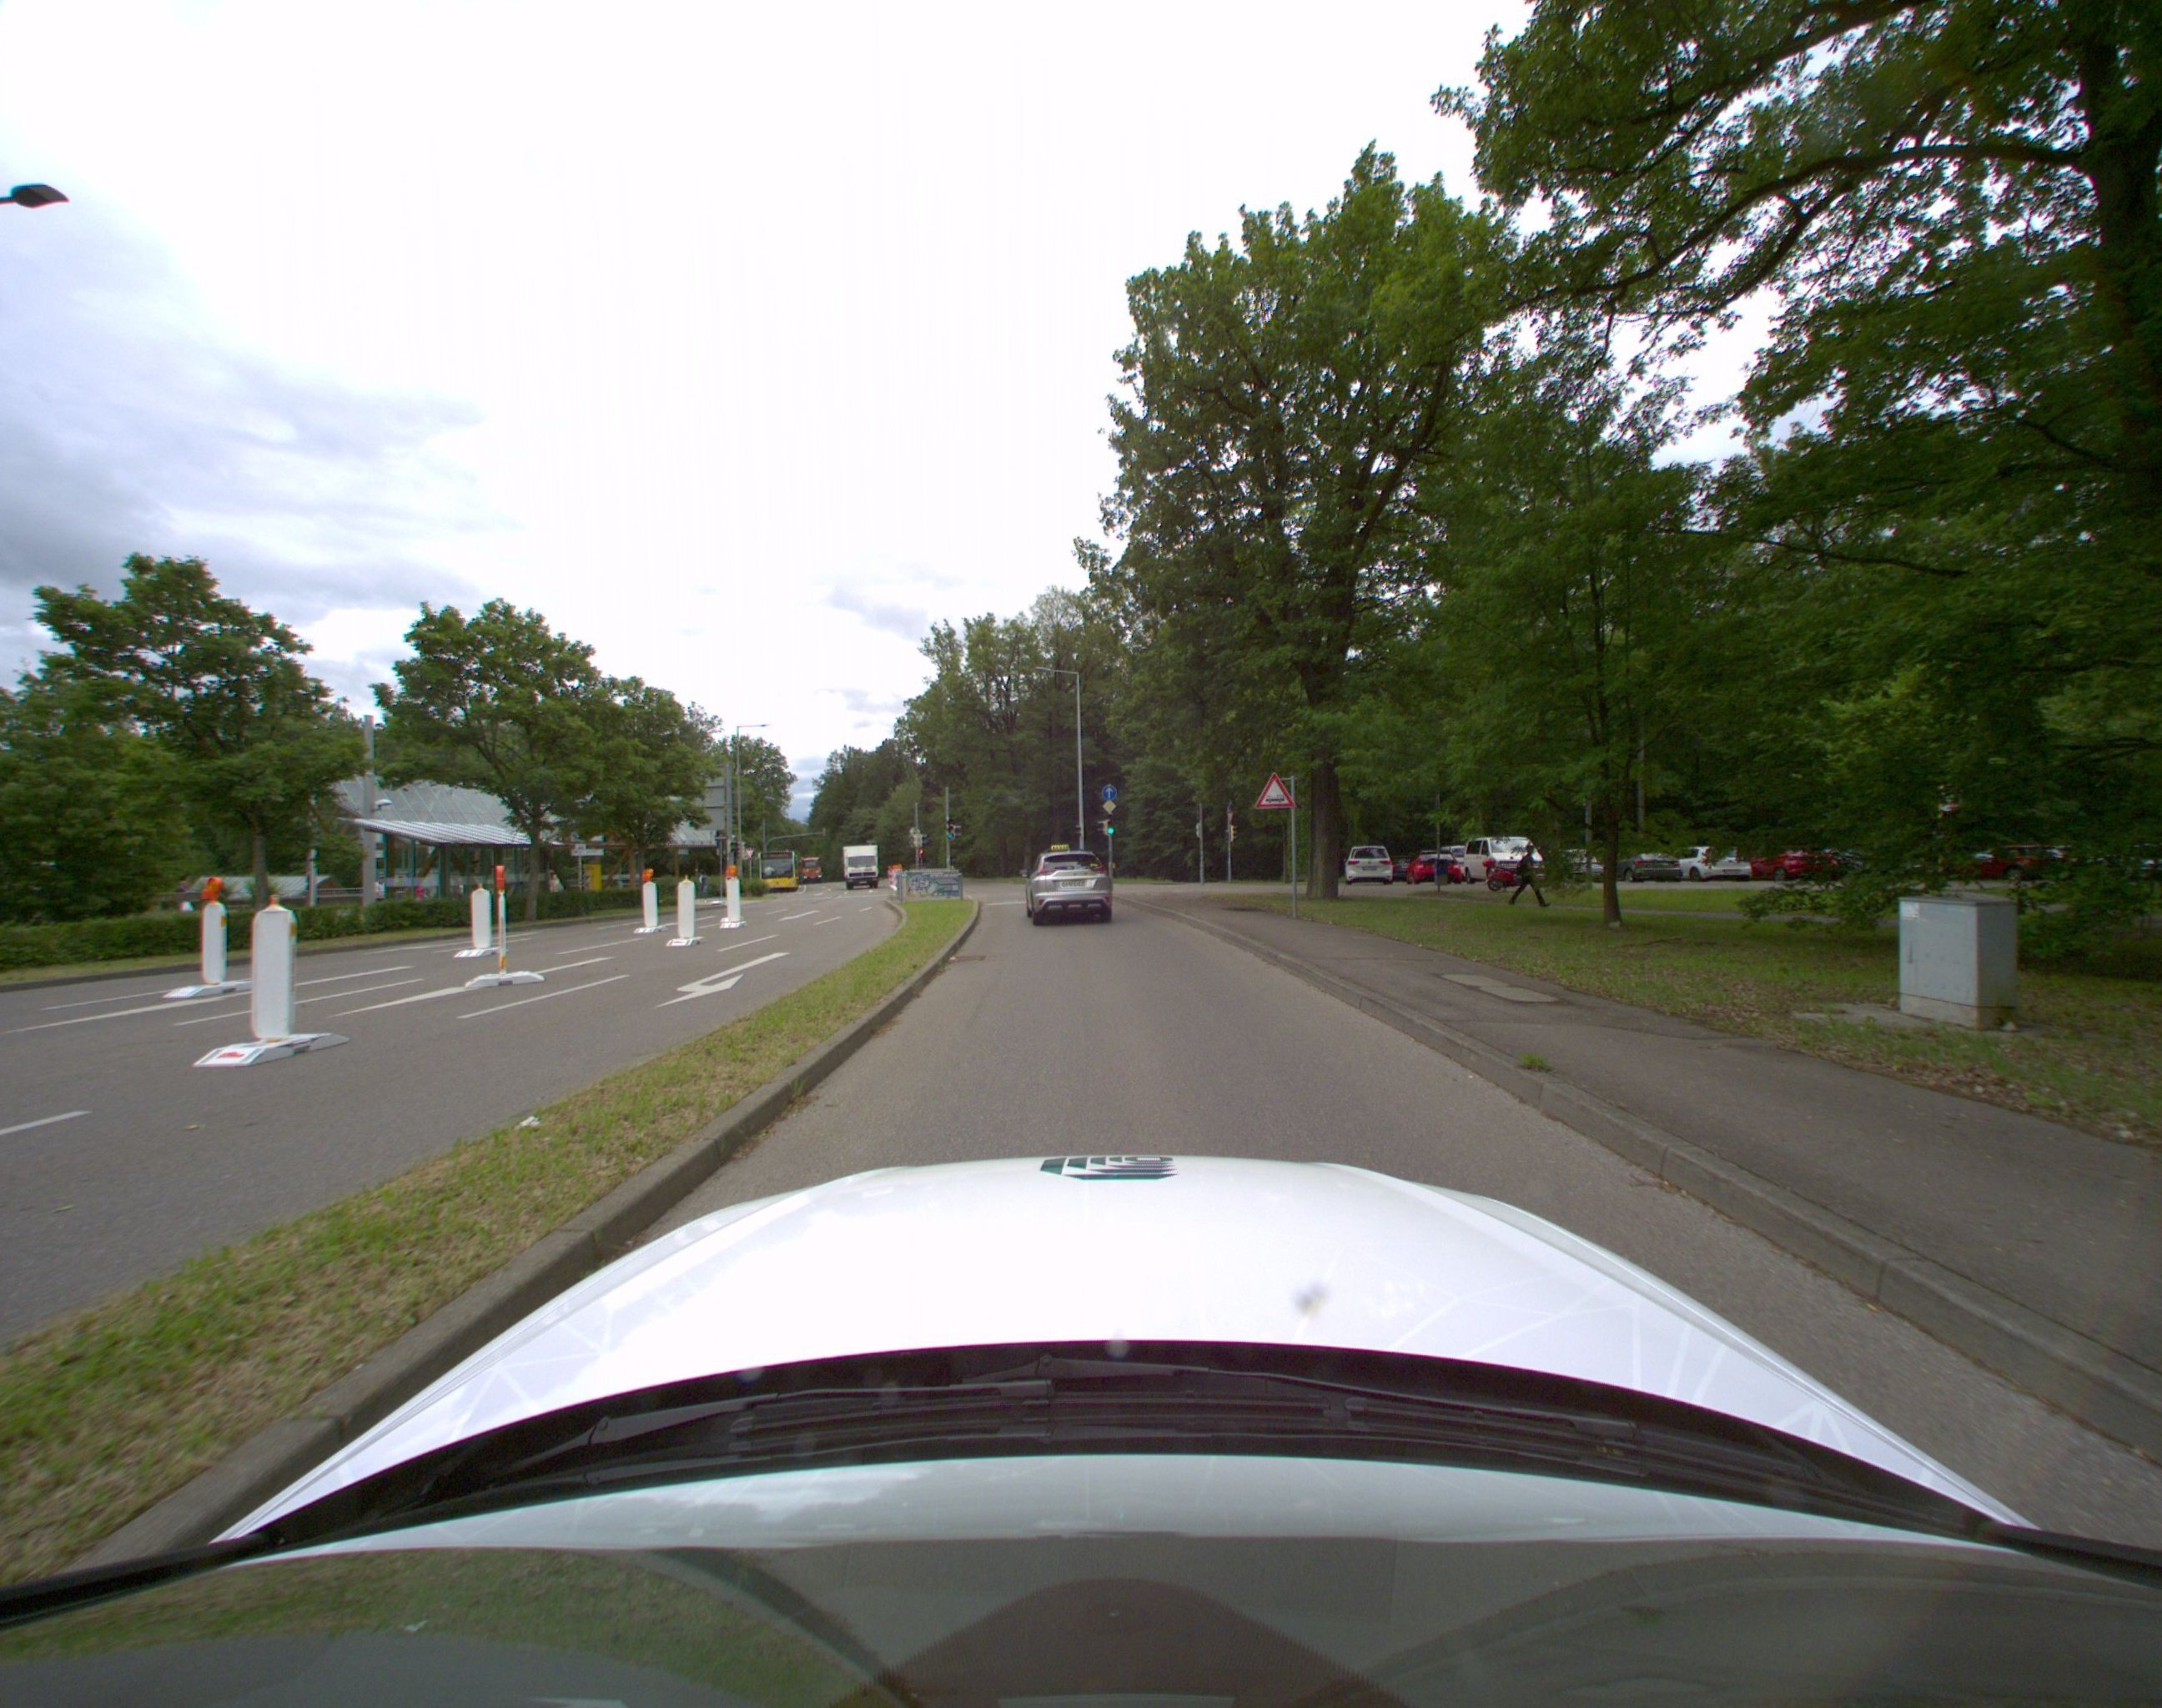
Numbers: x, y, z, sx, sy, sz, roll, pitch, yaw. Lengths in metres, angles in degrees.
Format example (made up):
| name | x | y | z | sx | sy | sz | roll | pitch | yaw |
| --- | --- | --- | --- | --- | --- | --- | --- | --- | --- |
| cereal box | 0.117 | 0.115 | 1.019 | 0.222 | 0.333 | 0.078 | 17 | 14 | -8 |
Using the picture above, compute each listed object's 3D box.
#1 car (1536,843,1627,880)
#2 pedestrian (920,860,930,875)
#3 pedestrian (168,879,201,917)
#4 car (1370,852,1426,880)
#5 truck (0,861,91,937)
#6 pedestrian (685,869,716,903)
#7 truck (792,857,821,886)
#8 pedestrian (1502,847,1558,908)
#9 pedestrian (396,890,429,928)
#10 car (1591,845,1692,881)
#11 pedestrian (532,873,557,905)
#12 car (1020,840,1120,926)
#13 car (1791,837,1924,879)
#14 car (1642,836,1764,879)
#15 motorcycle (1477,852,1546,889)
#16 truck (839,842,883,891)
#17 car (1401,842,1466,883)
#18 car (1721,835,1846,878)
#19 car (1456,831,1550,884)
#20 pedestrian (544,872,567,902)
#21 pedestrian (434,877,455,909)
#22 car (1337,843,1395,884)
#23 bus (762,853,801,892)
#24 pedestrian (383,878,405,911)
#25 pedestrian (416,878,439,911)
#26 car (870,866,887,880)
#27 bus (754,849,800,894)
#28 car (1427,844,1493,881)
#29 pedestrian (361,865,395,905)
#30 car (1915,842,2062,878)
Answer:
| name | x | y | z | sx | sy | sz | roll | pitch | yaw |
| --- | --- | --- | --- | --- | --- | --- | --- | --- | --- |
| car | 19.554 | 0.293 | 32.028 | 1.705 | 1.328 | 3.946 | -1 | -1 | 10 |
| pedestrian | -18.459 | 1.600 | 96.456 | 1.049 | 1.649 | 1.063 | -3 | 0 | -16 |
| pedestrian | -38.582 | 1.883 | 35.060 | 0.760 | 1.625 | 0.790 | -1 | -1 | 28 |
| car | 17.084 | 0.652 | 44.088 | 1.807 | 1.420 | 3.853 | 0 | -1 | 4 |
| truck | -33.754 | 1.323 | 25.108 | 2.619 | 2.170 | 6.232 | 0 | -1 | -36 |
| pedestrian | -19.059 | 1.596 | 40.816 | 0.902 | 1.676 | 1.097 | -3 | -1 | 12 |
| truck | -35.529 | 2.321 | 105.427 | 2.752 | 3.318 | 7.101 | -4 | -1 | -24 |
| pedestrian | 12.343 | 0.630 | 22.405 | 0.834 | 1.651 | 1.028 | 0 | -1 | -22 |
| pedestrian | -28.632 | 2.353 | 34.884 | 0.767 | 1.552 | 0.795 | -1 | -1 | 16 |
| car | 21.739 | 0.353 | 31.802 | 1.802 | 1.325 | 4.142 | -1 | -1 | 12 |
| pedestrian | -30.461 | 1.969 | 46.228 | 0.982 | 1.809 | 0.771 | -1 | -1 | 25 |
| car | -0.381 | 0.633 | 19.493 | 1.846 | 1.780 | 3.988 | -2 | 0 | -8 |
| car | 29.067 | 0.163 | 30.662 | 1.747 | 1.457 | 4.081 | -1 | -1 | 12 |
| car | 24.020 | 0.146 | 31.660 | 1.826 | 1.557 | 4.544 | -1 | -1 | 9 |
| motorcycle | 14.398 | 0.558 | 27.261 | 1.940 | 1.204 | 0.592 | 0 | -1 | 7 |
| truck | -16.135 | 0.934 | 60.025 | 2.632 | 3.238 | 6.179 | -3 | -1 | -13 |
| car | 14.217 | 0.327 | 33.038 | 1.874 | 1.552 | 4.017 | -1 | -1 | 16 |
| car | 26.640 | 0.103 | 31.069 | 1.801 | 1.495 | 4.214 | -1 | -1 | 12 |
| car | 16.887 | 0.226 | 32.930 | 2.042 | 1.957 | 5.199 | -1 | -2 | 12 |
| pedestrian | -27.204 | 1.695 | 42.137 | 0.767 | 1.525 | 0.871 | 0 | -1 | -16 |
| pedestrian | -32.457 | 1.972 | 41.502 | 0.666 | 1.625 | 0.587 | -1 | -1 | 22 |
| car | 11.672 | 0.393 | 33.608 | 1.978 | 1.552 | 4.439 | -1 | -1 | 16 |
| bus | -26.252 | 1.606 | 71.599 | 2.907 | 3.127 | 8.638 | -1 | -1 | -19 |
| pedestrian | -33.650 | 1.980 | 39.897 | 0.666 | 1.625 | 0.587 | -1 | -1 | 22 |
| pedestrian | -32.537 | 1.999 | 40.570 | 0.670 | 1.625 | 0.583 | 0 | -1 | -2 |
| car | -22.997 | 2.177 | 92.427 | 1.811 | 1.509 | 4.285 | -3 | -1 | -15 |
| bus | -23.355 | 1.380 | 62.911 | 2.907 | 3.127 | 9.697 | -1 | -1 | -19 |
| car | 20.085 | 0.455 | 43.363 | 1.981 | 1.878 | 4.964 | -1 | -1 | 11 |
| pedestrian | -29.395 | 1.284 | 34.058 | 0.862 | 1.665 | 0.688 | -1 | -1 | 11 |
| car | 34.153 | 0.240 | 30.818 | 1.606 | 1.266 | 3.781 | 0 | -1 | 6 |
